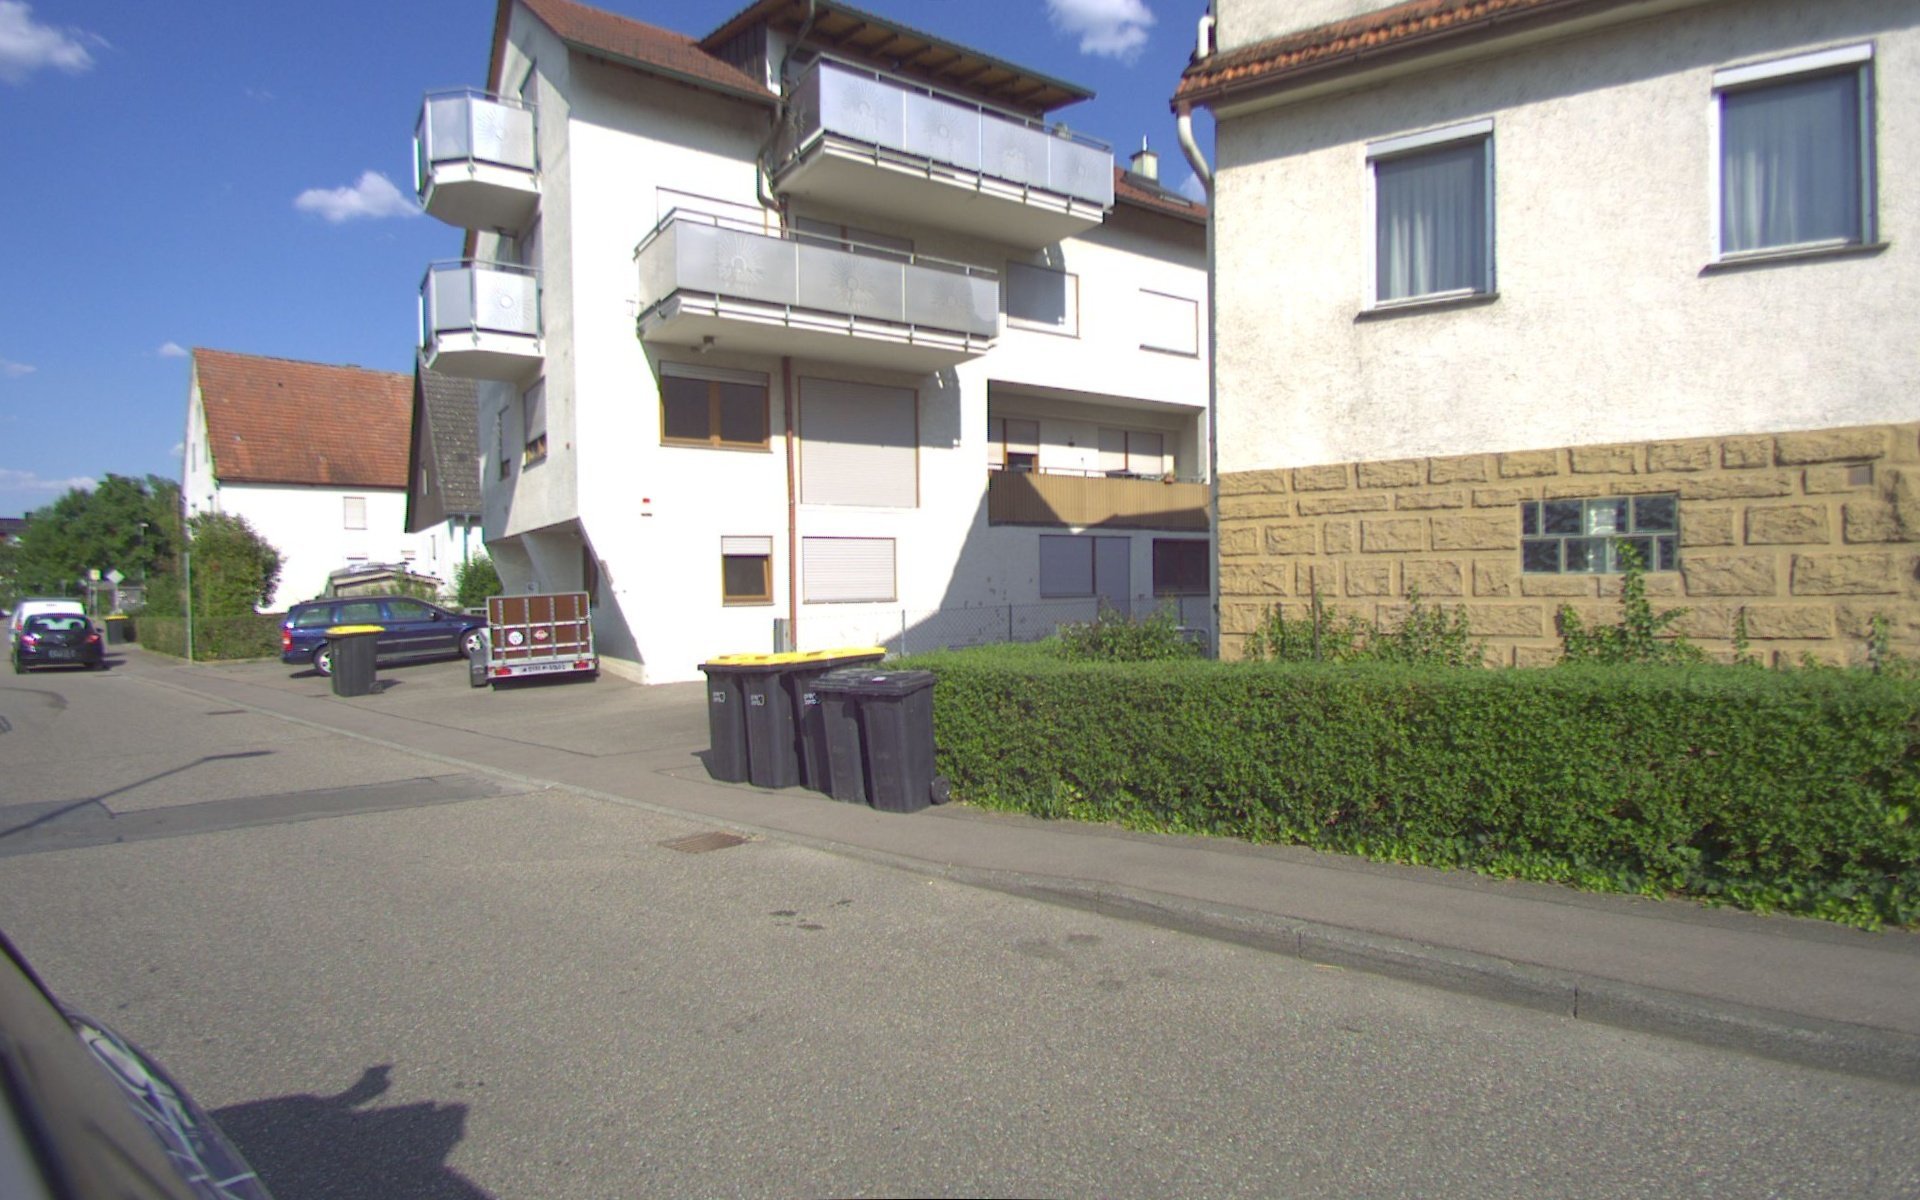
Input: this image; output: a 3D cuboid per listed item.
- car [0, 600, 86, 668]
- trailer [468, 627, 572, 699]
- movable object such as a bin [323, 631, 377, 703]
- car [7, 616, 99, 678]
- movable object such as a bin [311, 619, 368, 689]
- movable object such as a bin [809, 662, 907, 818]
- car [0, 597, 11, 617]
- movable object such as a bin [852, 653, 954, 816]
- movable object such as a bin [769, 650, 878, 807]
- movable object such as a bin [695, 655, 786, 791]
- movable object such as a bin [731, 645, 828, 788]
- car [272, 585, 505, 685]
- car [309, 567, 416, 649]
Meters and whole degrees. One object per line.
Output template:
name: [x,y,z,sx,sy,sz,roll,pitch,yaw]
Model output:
car: [-27.223,0.962,30.014,1.696,1.887,4.194,1,-1,-45]
trailer: [-7.503,1.012,17.143,1.311,0.861,2.901,-3,4,-29]
movable object such as a bin: [-9.726,1.054,16.134,0.558,1.079,0.564,-1,2,44]
car: [-23.427,1.141,26.099,1.653,1.462,3.837,0,-1,-44]
movable object such as a bin: [-10.176,0.869,16.600,0.619,1.079,0.593,-1,2,44]
movable object such as a bin: [-0.726,0.973,7.246,0.457,1.030,0.525,-1,-2,43]
car: [-71.850,0.531,72.928,1.759,1.442,4.808,0,0,22]
movable object such as a bin: [-0.388,0.890,6.893,0.457,1.030,0.525,-1,-2,43]
movable object such as a bin: [-1.061,0.963,7.866,0.617,1.130,0.581,-1,-2,43]
movable object such as a bin: [-1.882,1.029,8.691,0.508,1.092,0.581,-1,-2,43]
movable object such as a bin: [-1.476,0.928,8.288,0.530,1.092,0.581,-1,-2,43]
car: [-11.734,0.655,20.850,3.935,1.549,1.767,-6,3,-34]
car: [-21.139,0.279,35.641,2.132,2.615,6.103,-2,1,-41]
